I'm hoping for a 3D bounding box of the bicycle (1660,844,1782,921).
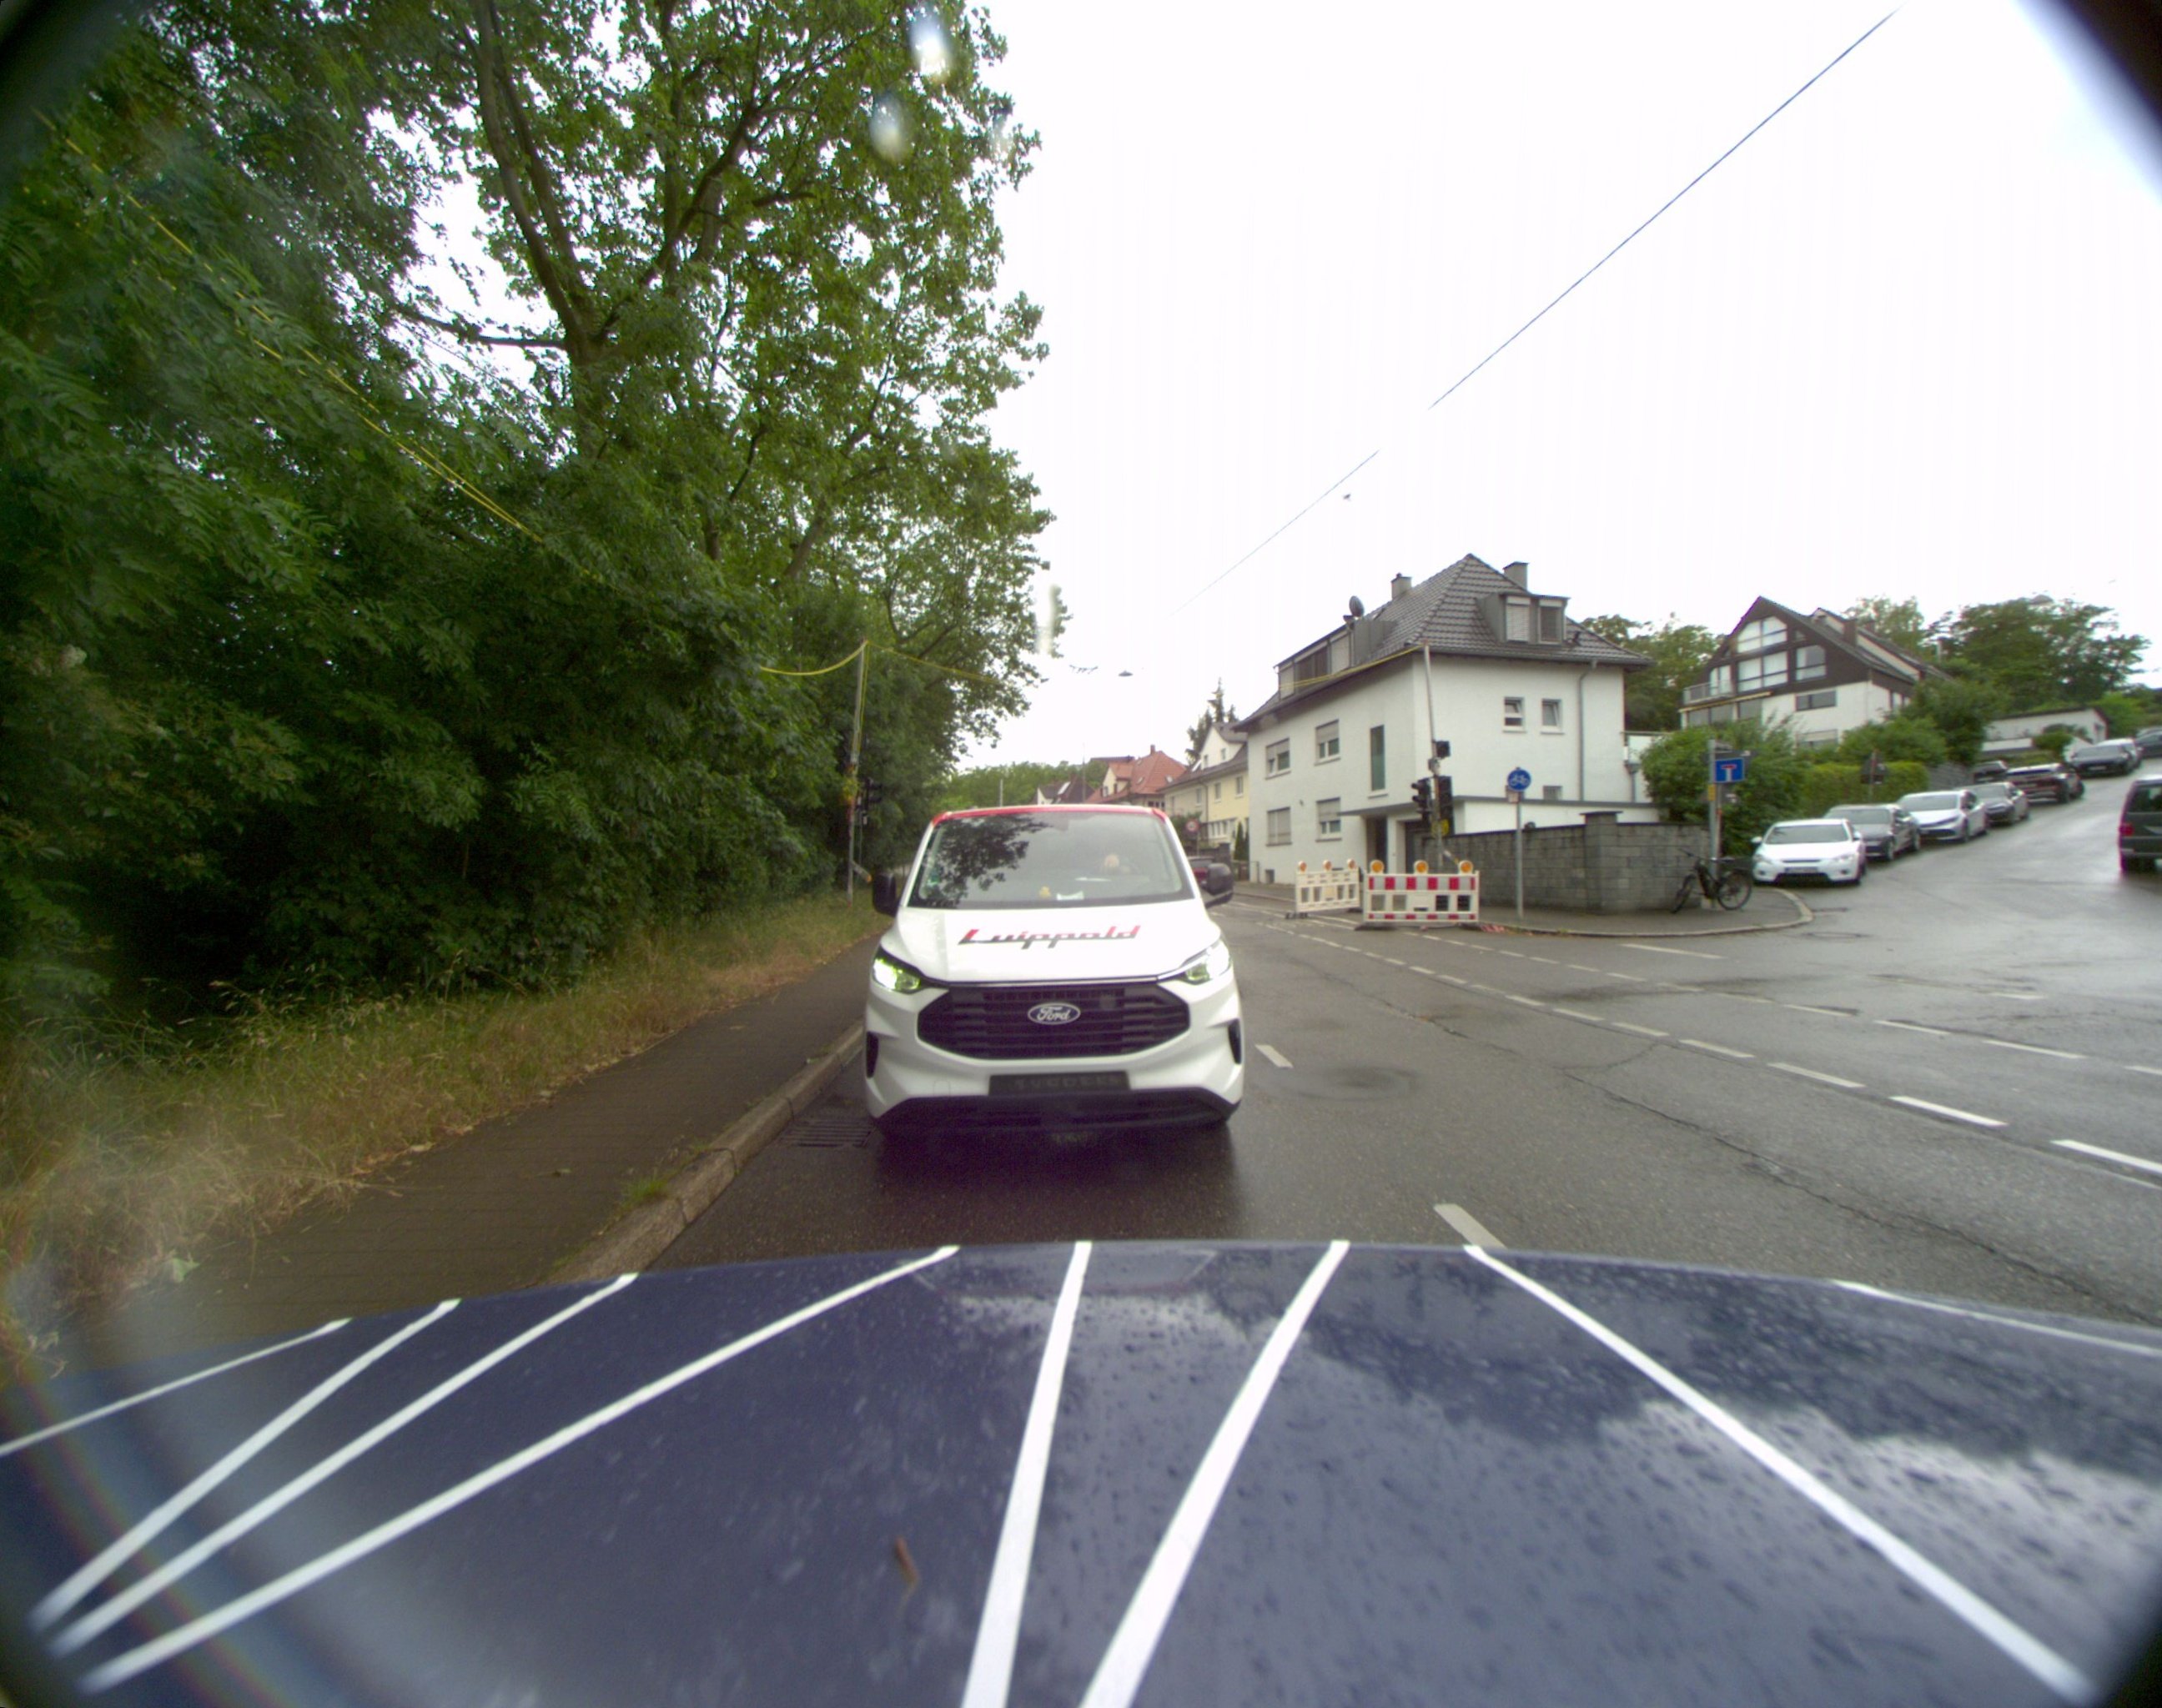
[{"bbox_3d":[11.731,0.509,13.949,1.732,1.304,0.707,-2,1,-7],"label":"bicycle"}]

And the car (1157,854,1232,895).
[{"bbox_3d":[4.390,0.822,29.926,1.898,1.485,3.795,-1,-2,-8],"label":"car"}]

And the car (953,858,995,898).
[{"bbox_3d":[-4.722,1.077,33.712,1.670,1.579,4.004,-3,-1,-8],"label":"car"}]

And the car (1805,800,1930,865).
[{"bbox_3d":[22.406,-0.632,21.617,3.859,1.458,1.700,-7,2,-32],"label":"car"}]

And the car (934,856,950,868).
[{"bbox_3d":[-18.855,1.094,103.051,1.767,1.519,3.585,-2,1,-17],"label":"car"}]

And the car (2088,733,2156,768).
[{"bbox_3d":[60.983,-6.062,44.508,3.834,1.492,1.733,-9,3,-26],"label":"car"}]

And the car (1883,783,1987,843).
[{"bbox_3d":[27.187,-1.317,24.170,3.859,1.458,1.579,-8,4,-32],"label":"car"}]

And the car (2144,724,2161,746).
[{"bbox_3d":[81.276,-8.948,55.771,1.624,1.492,3.514,-9,3,-24],"label":"car"}]

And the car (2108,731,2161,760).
[{"bbox_3d":[68.156,-6.968,48.113,1.582,1.492,3.607,-10,4,-34],"label":"car"}]

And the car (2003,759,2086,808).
[{"bbox_3d":[40.507,-2.964,31.927,3.988,1.547,1.333,-9,3,-26],"label":"car"}]

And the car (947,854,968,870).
[{"bbox_3d":[-15.341,0.957,94.075,2.001,1.850,4.354,-2,1,-17],"label":"car"}]

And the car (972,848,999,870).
[{"bbox_3d":[-9.586,0.490,75.999,2.001,2.002,3.994,-2,1,-17],"label":"car"}]

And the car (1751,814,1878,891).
[{"bbox_3d":[17.643,-0.059,18.236,3.566,1.458,1.746,-7,2,-39],"label":"car"}]

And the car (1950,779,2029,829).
[{"bbox_3d":[32.134,-1.781,26.867,3.508,1.383,1.333,-8,4,-32],"label":"car"}]

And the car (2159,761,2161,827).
[{"bbox_3d":[32.977,-1.941,21.917,3.416,1.827,1.917,-9,3,-31],"label":"car"}]

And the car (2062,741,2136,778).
[{"bbox_3d":[54.734,-5.090,40.846,3.834,1.492,1.733,-9,3,-26],"label":"car"}]

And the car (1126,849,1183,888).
[{"bbox_3d":[3.308,0.691,34.897,1.670,1.579,4.004,-3,-1,-8],"label":"car"}]

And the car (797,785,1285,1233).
[{"bbox_3d":[-0.135,0.650,5.899,2.045,1.883,5.208,-2,1,1],"label":"car"}]

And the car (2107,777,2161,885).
[{"bbox_3d":[23.576,-0.579,16.041,3.801,1.926,1.911,-9,3,-31],"label":"car"}]
